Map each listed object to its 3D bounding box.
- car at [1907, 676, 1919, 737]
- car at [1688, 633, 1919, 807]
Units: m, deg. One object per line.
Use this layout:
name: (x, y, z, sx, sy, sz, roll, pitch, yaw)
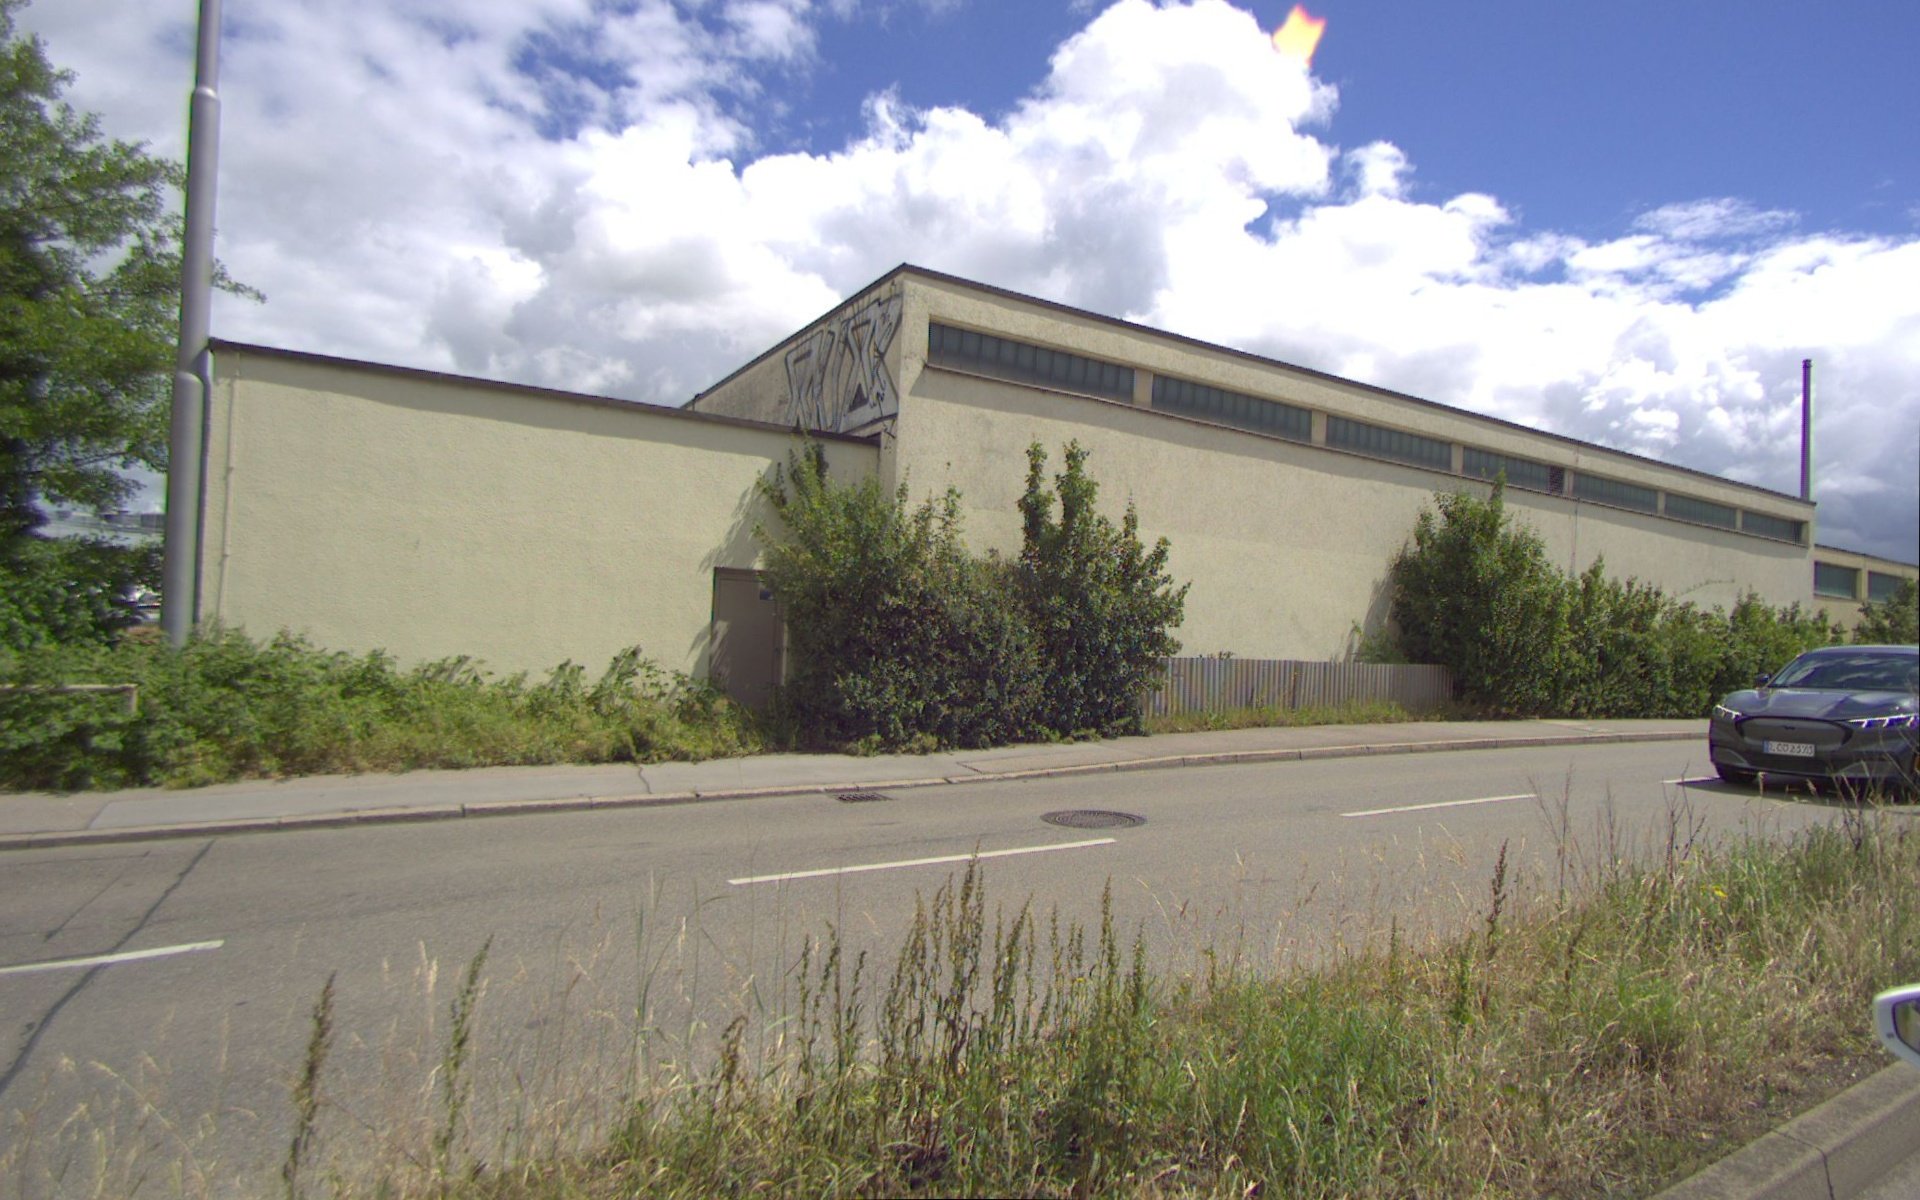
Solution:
car: (22.413, 2.319, 21.733, 3.954, 1.292, 1.746, 3, -4, -31)
car: (10.449, 1.234, 11.483, 4.392, 1.648, 1.869, 2, -3, -31)
